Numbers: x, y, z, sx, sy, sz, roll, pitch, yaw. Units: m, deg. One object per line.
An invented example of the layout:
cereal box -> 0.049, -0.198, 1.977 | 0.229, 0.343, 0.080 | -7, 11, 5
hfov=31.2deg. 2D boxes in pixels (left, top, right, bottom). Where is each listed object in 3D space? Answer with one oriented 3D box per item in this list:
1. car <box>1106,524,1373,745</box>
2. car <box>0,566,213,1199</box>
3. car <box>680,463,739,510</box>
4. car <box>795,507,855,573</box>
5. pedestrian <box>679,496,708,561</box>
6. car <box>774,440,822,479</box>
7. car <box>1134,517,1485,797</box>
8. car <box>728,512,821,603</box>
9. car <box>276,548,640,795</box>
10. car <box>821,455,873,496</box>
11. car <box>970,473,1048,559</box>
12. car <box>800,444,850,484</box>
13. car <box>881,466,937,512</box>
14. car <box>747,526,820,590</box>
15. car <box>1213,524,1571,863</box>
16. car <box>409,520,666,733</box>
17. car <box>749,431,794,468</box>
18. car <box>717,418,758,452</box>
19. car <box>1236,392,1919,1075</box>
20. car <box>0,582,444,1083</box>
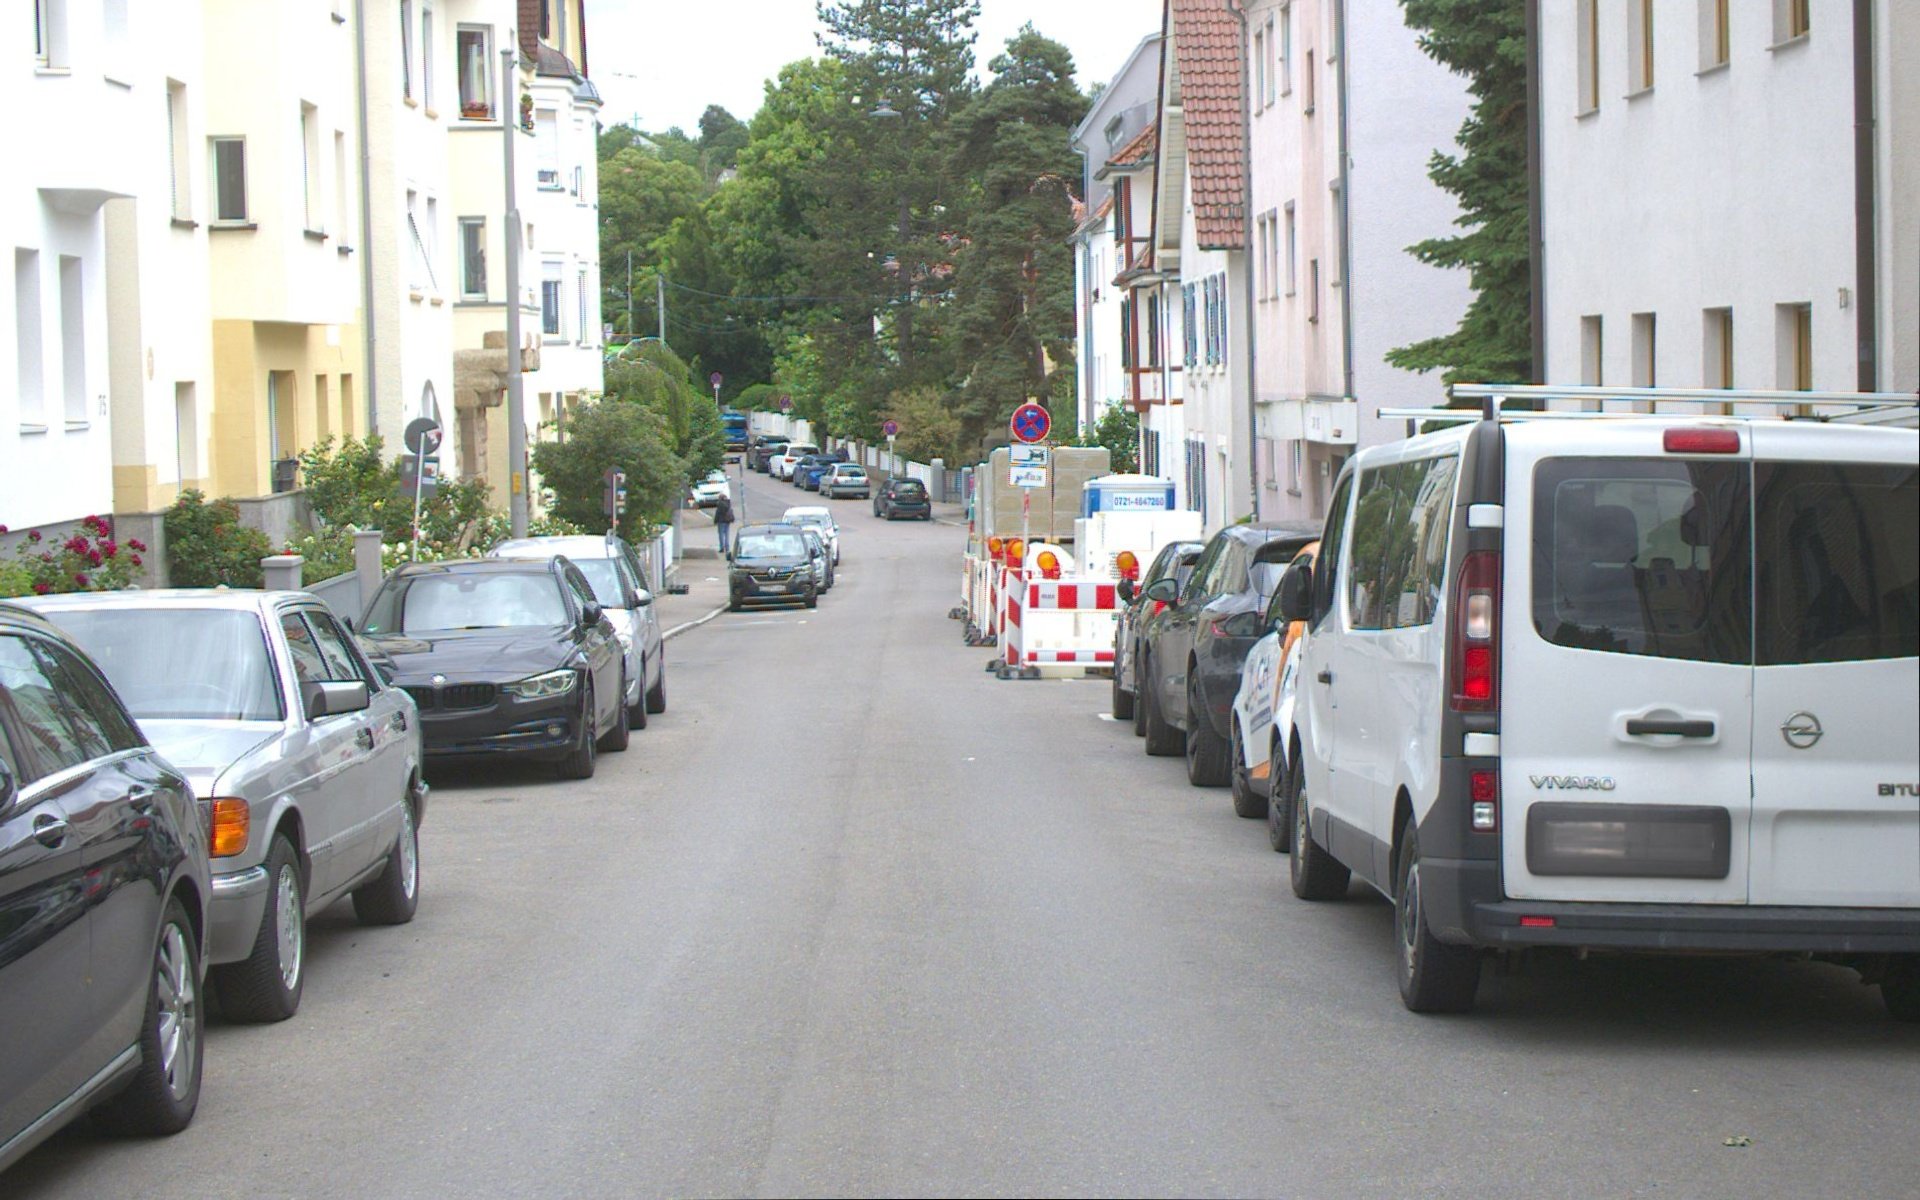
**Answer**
car -> 2.123, 0.207, 27.088 | 1.715, 1.560, 4.073 | 0, 2, -1
car -> -2.963, 0.710, 7.430 | 1.895, 1.522, 4.471 | -1, 1, -3
car -> -10.050, -4.564, 137.599 | 1.672, 1.651, 3.865 | -3, 5, -14
car -> -3.971, -1.781, 101.077 | 1.672, 1.651, 3.864 | -2, 5, -2
pedestrian -> -7.977, -2.158, 102.912 | 0.791, 1.926, 0.919 | 0, 2, 2
car -> -7.121, -6.173, 150.842 | 1.634, 1.532, 3.532 | 0, 5, -10
car -> 2.156, 0.279, 22.336 | 1.713, 1.591, 4.499 | 0, 2, -1
car -> -3.974, -0.929, 73.062 | 1.844, 1.809, 4.545 | -2, 2, -4
car -> -3.320, 0.408, 23.569 | 1.845, 1.452, 4.505 | -2, 1, -1
car -> -4.633, -5.094, 140.217 | 1.634, 1.478, 3.532 | 0, 5, -10
car -> 1.379, -2.428, 98.266 | 1.980, 2.354, 4.278 | -1, 3, -2
car -> -5.706, -5.744, 144.740 | 1.634, 1.478, 3.532 | 0, 5, -10
car -> -1.911, -4.151, 128.334 | 1.634, 1.478, 3.532 | 0, 5, -9
car -> -4.272, -1.040, 83.429 | 1.642, 1.412, 3.984 | -2, 2, -2
car -> 2.176, 0.419, 17.915 | 1.487, 1.591, 2.791 | 0, 2, 0
car -> -3.546, 0.160, 29.528 | 1.844, 1.625, 4.287 | -1, 2, -3
car -> -8.600, -6.857, 156.552 | 1.634, 1.532, 3.532 | 0, 5, -10
car -> -11.090, -8.236, 171.058 | 1.634, 1.532, 3.532 | 0, 5, -10
car -> 2.299, 0.313, 13.094 | 1.905, 2.023, 5.734 | 0, 2, -1
car -> -3.102, 0.684, 12.674 | 1.844, 1.408, 5.062 | -1, 1, -3
